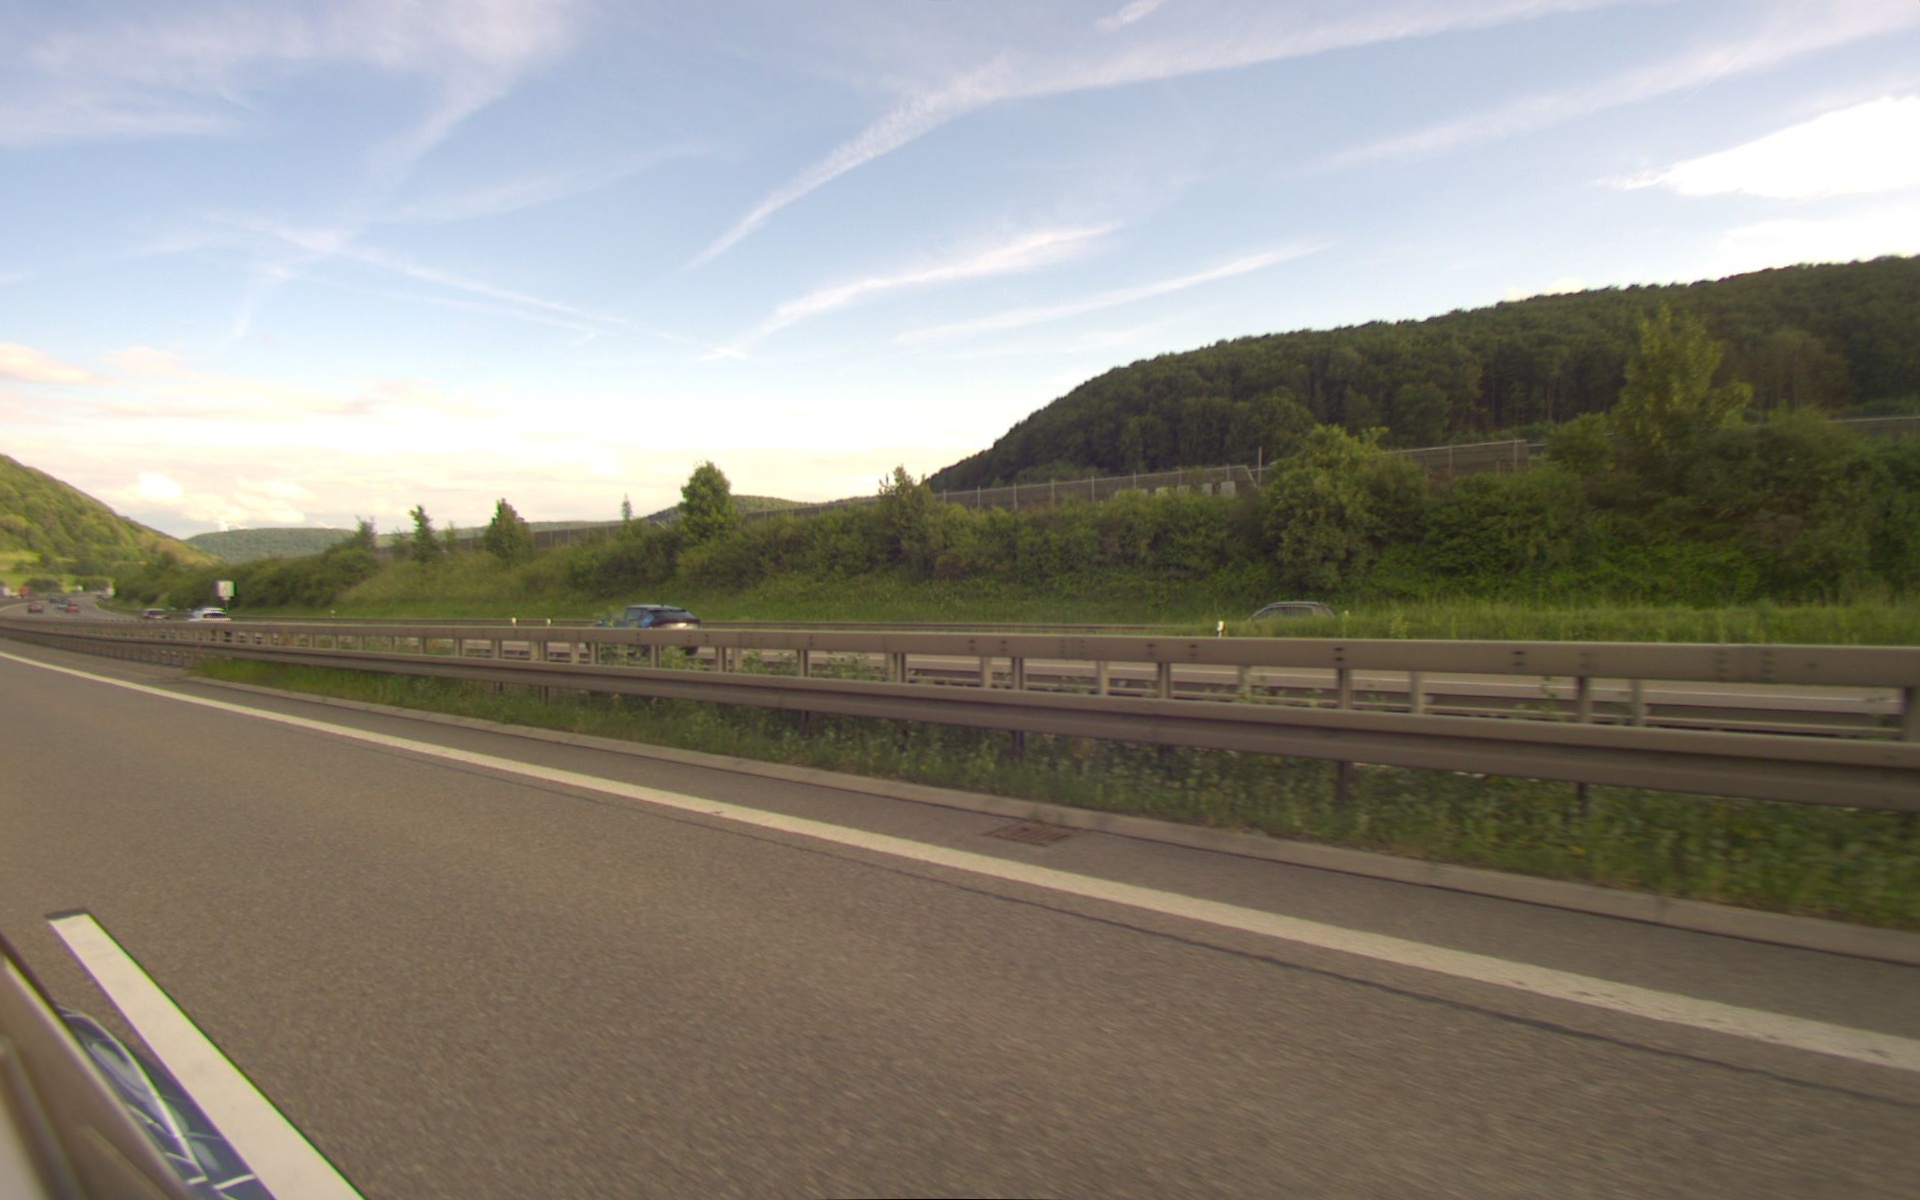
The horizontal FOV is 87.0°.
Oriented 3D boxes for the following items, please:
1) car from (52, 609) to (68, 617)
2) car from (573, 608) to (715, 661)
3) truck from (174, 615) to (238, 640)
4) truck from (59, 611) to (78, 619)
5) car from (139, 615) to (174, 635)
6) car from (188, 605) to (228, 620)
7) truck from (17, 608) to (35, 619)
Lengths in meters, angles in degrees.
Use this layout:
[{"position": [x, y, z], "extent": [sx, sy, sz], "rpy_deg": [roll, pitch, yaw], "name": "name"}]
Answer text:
[{"position": [-173.361, 2.545, 194.875], "extent": [4.357, 1.364, 1.971], "rpy_deg": [-1, -2, 44], "name": "car"}, {"position": [-9.785, 1.015, 31.176], "extent": [4.689, 1.508, 1.973], "rpy_deg": [0, -2, 40], "name": "car"}, {"position": [-43.235, 1.549, 58.004], "extent": [4.642, 1.375, 1.973], "rpy_deg": [-1, -1, 40], "name": "truck"}, {"position": [-149.939, 2.475, 170.196], "extent": [3.947, 1.364, 1.971], "rpy_deg": [-1, -2, 44], "name": "truck"}, {"position": [-69.274, 2.166, 87.201], "extent": [1.970, 1.497, 4.003], "rpy_deg": [-2, -2, -44], "name": "car"}, {"position": [-70.156, 1.195, 94.424], "extent": [4.374, 1.368, 1.743], "rpy_deg": [-1, -1, 36], "name": "car"}, {"position": [-150.718, 2.194, 163.373], "extent": [1.969, 1.606, 4.853], "rpy_deg": [2, -2, -42], "name": "truck"}]
